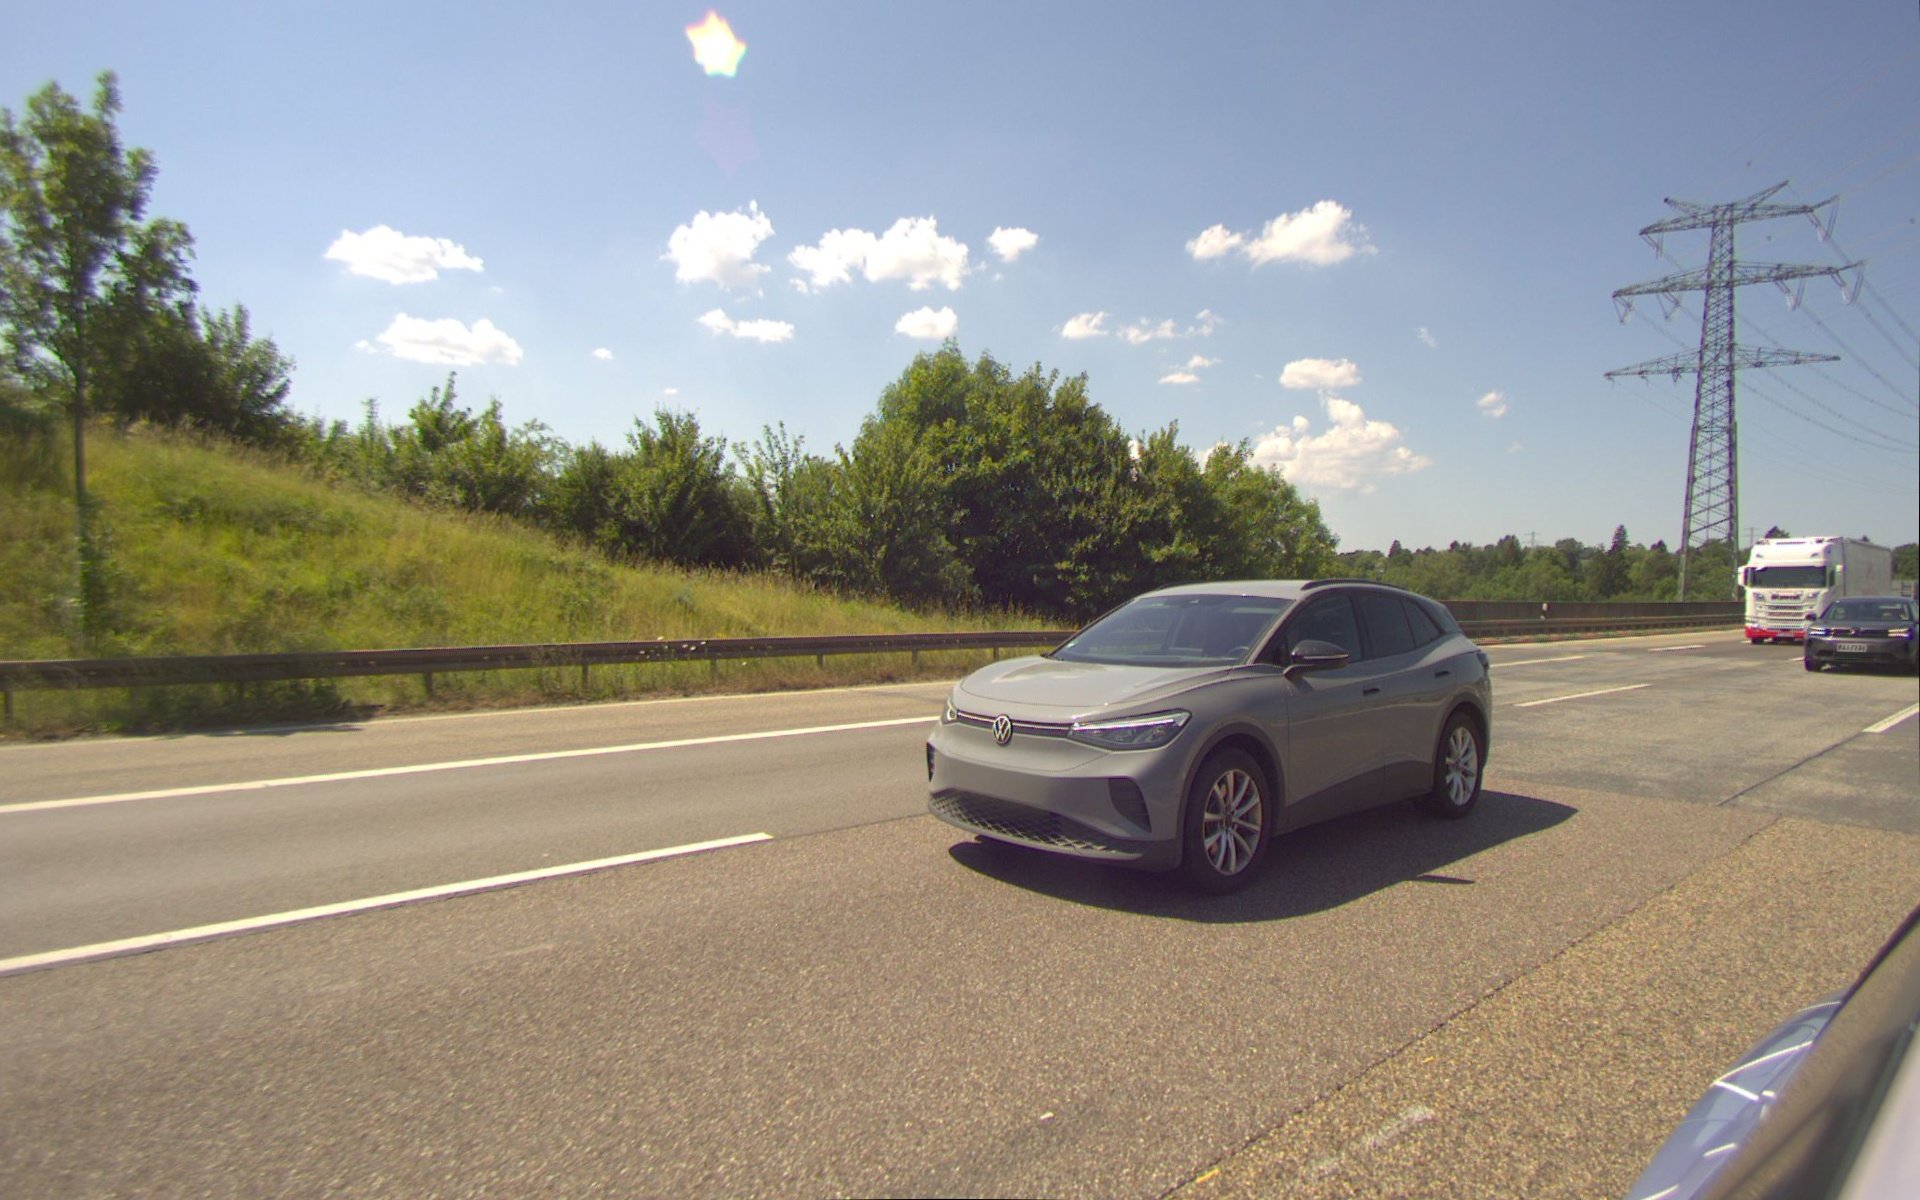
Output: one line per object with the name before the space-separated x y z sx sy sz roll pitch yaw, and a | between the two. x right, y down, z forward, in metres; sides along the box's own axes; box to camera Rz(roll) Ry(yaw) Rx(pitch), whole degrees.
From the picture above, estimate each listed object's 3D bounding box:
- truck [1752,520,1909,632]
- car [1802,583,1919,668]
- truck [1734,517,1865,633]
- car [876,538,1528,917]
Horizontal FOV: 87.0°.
truck | 35.700 -0.879 41.252 12.284 3.957 3.074 0 0 -41
car | 19.815 0.485 21.772 3.976 1.667 1.954 0 0 -41
truck | 30.475 -0.852 36.730 3.779 3.957 3.074 0 0 -41
car | 1.824 0.546 6.621 4.505 1.657 1.871 0 0 -41
